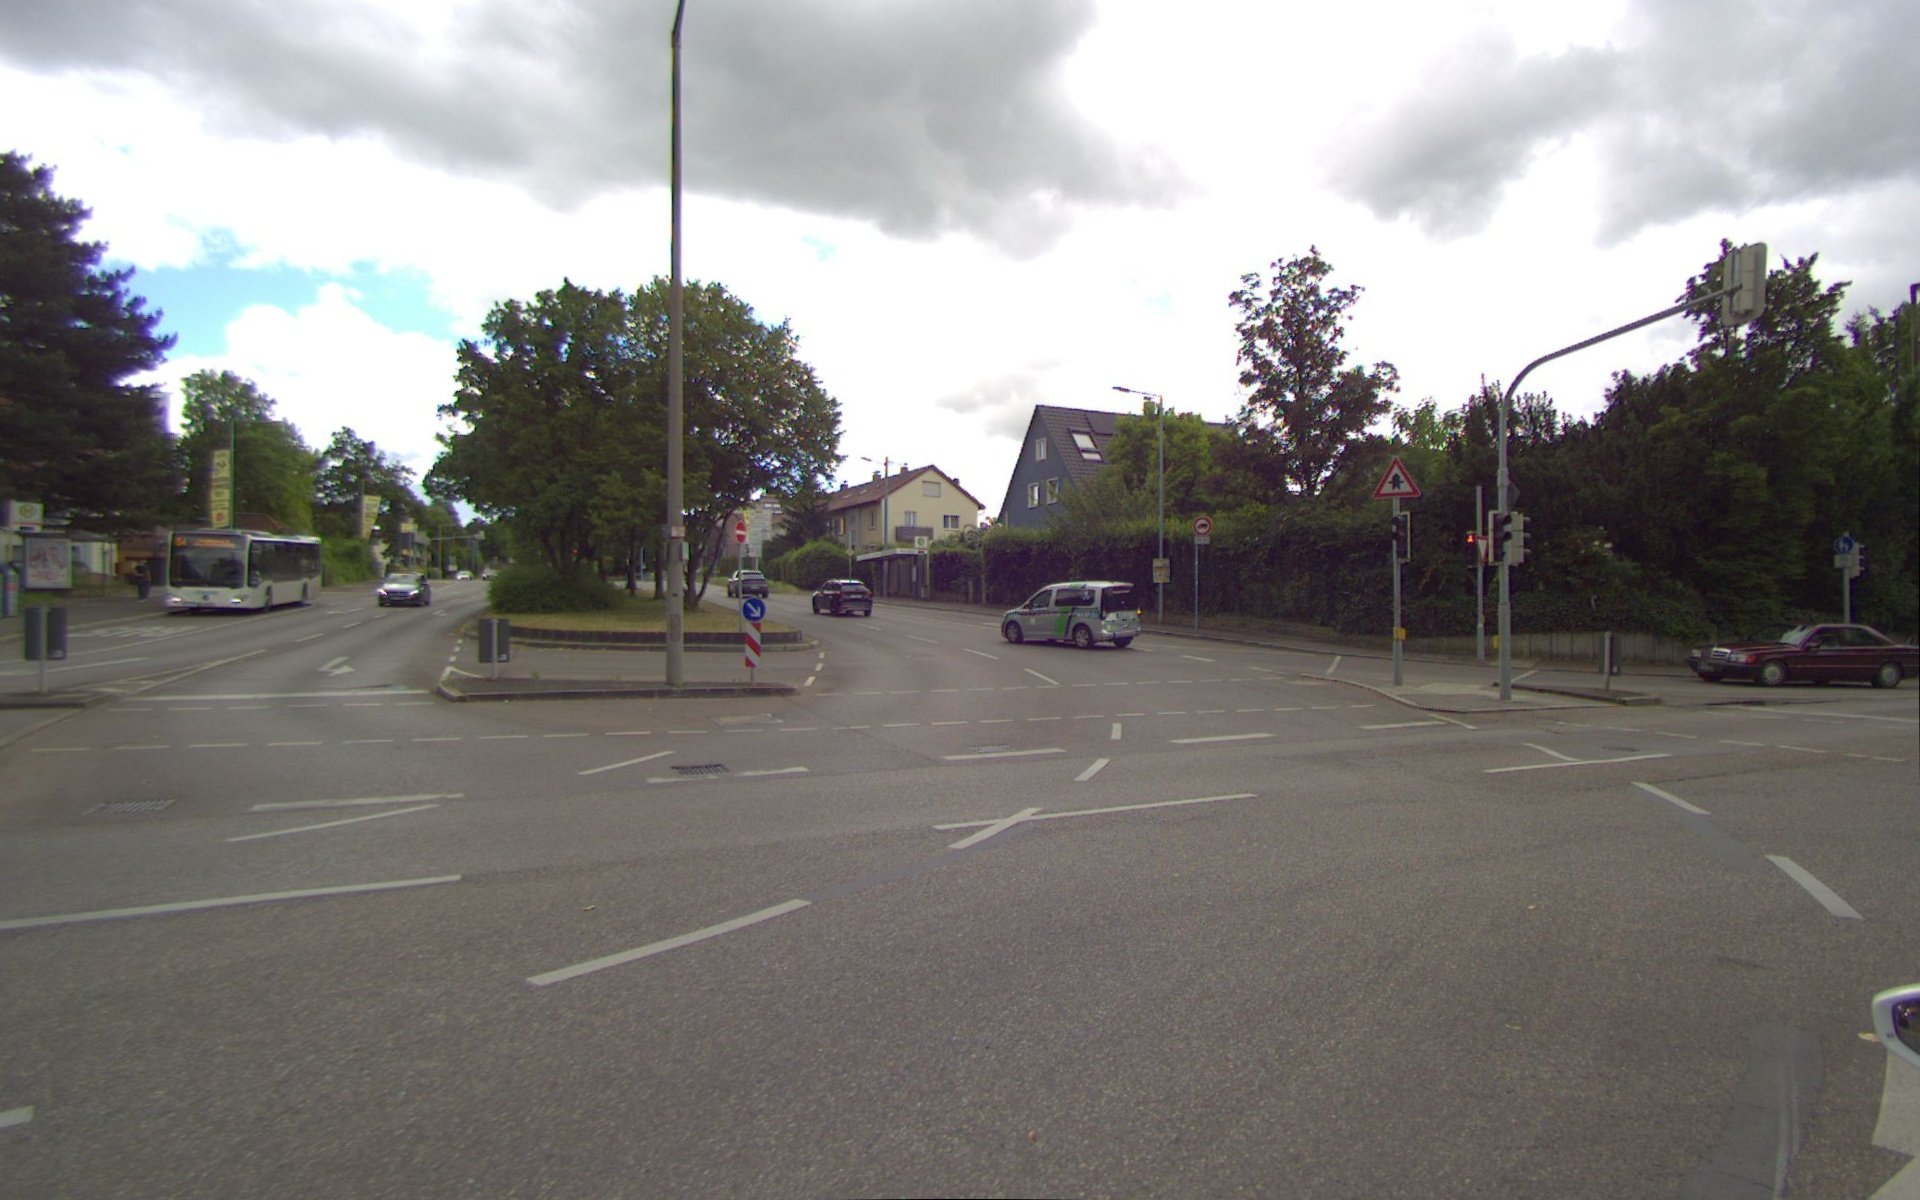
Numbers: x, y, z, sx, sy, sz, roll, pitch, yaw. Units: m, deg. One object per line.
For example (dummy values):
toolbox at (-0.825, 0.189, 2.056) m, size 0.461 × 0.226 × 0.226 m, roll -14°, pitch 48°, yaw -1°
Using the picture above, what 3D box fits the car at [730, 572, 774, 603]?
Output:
car at (-13.124, -0.767, 63.169) m, size 1.922 × 1.836 × 4.419 m, roll 1°, pitch 0°, yaw -23°

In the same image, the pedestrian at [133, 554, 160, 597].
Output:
pedestrian at (-32.753, -0.982, 40.455) m, size 0.693 × 1.698 × 0.564 m, roll 1°, pitch 1°, yaw -24°

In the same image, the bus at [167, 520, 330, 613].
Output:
bus at (-28.732, -1.475, 41.249) m, size 2.641 × 3.205 × 12.281 m, roll 1°, pitch 3°, yaw -22°

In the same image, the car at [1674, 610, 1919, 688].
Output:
car at (17.943, 1.023, 21.462) m, size 4.261 × 1.484 × 1.746 m, roll 1°, pitch 0°, yaw -6°

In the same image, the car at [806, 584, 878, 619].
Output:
car at (-5.279, 0.052, 44.431) m, size 1.922 × 1.443 × 4.515 m, roll 1°, pitch 0°, yaw -24°

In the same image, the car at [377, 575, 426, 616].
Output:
car at (-27.036, -0.226, 48.635) m, size 1.976 × 1.877 × 4.709 m, roll 1°, pitch 0°, yaw -29°

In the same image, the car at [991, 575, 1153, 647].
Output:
car at (3.123, 0.297, 28.739) m, size 1.934 × 1.899 × 4.486 m, roll 1°, pitch 0°, yaw -41°
